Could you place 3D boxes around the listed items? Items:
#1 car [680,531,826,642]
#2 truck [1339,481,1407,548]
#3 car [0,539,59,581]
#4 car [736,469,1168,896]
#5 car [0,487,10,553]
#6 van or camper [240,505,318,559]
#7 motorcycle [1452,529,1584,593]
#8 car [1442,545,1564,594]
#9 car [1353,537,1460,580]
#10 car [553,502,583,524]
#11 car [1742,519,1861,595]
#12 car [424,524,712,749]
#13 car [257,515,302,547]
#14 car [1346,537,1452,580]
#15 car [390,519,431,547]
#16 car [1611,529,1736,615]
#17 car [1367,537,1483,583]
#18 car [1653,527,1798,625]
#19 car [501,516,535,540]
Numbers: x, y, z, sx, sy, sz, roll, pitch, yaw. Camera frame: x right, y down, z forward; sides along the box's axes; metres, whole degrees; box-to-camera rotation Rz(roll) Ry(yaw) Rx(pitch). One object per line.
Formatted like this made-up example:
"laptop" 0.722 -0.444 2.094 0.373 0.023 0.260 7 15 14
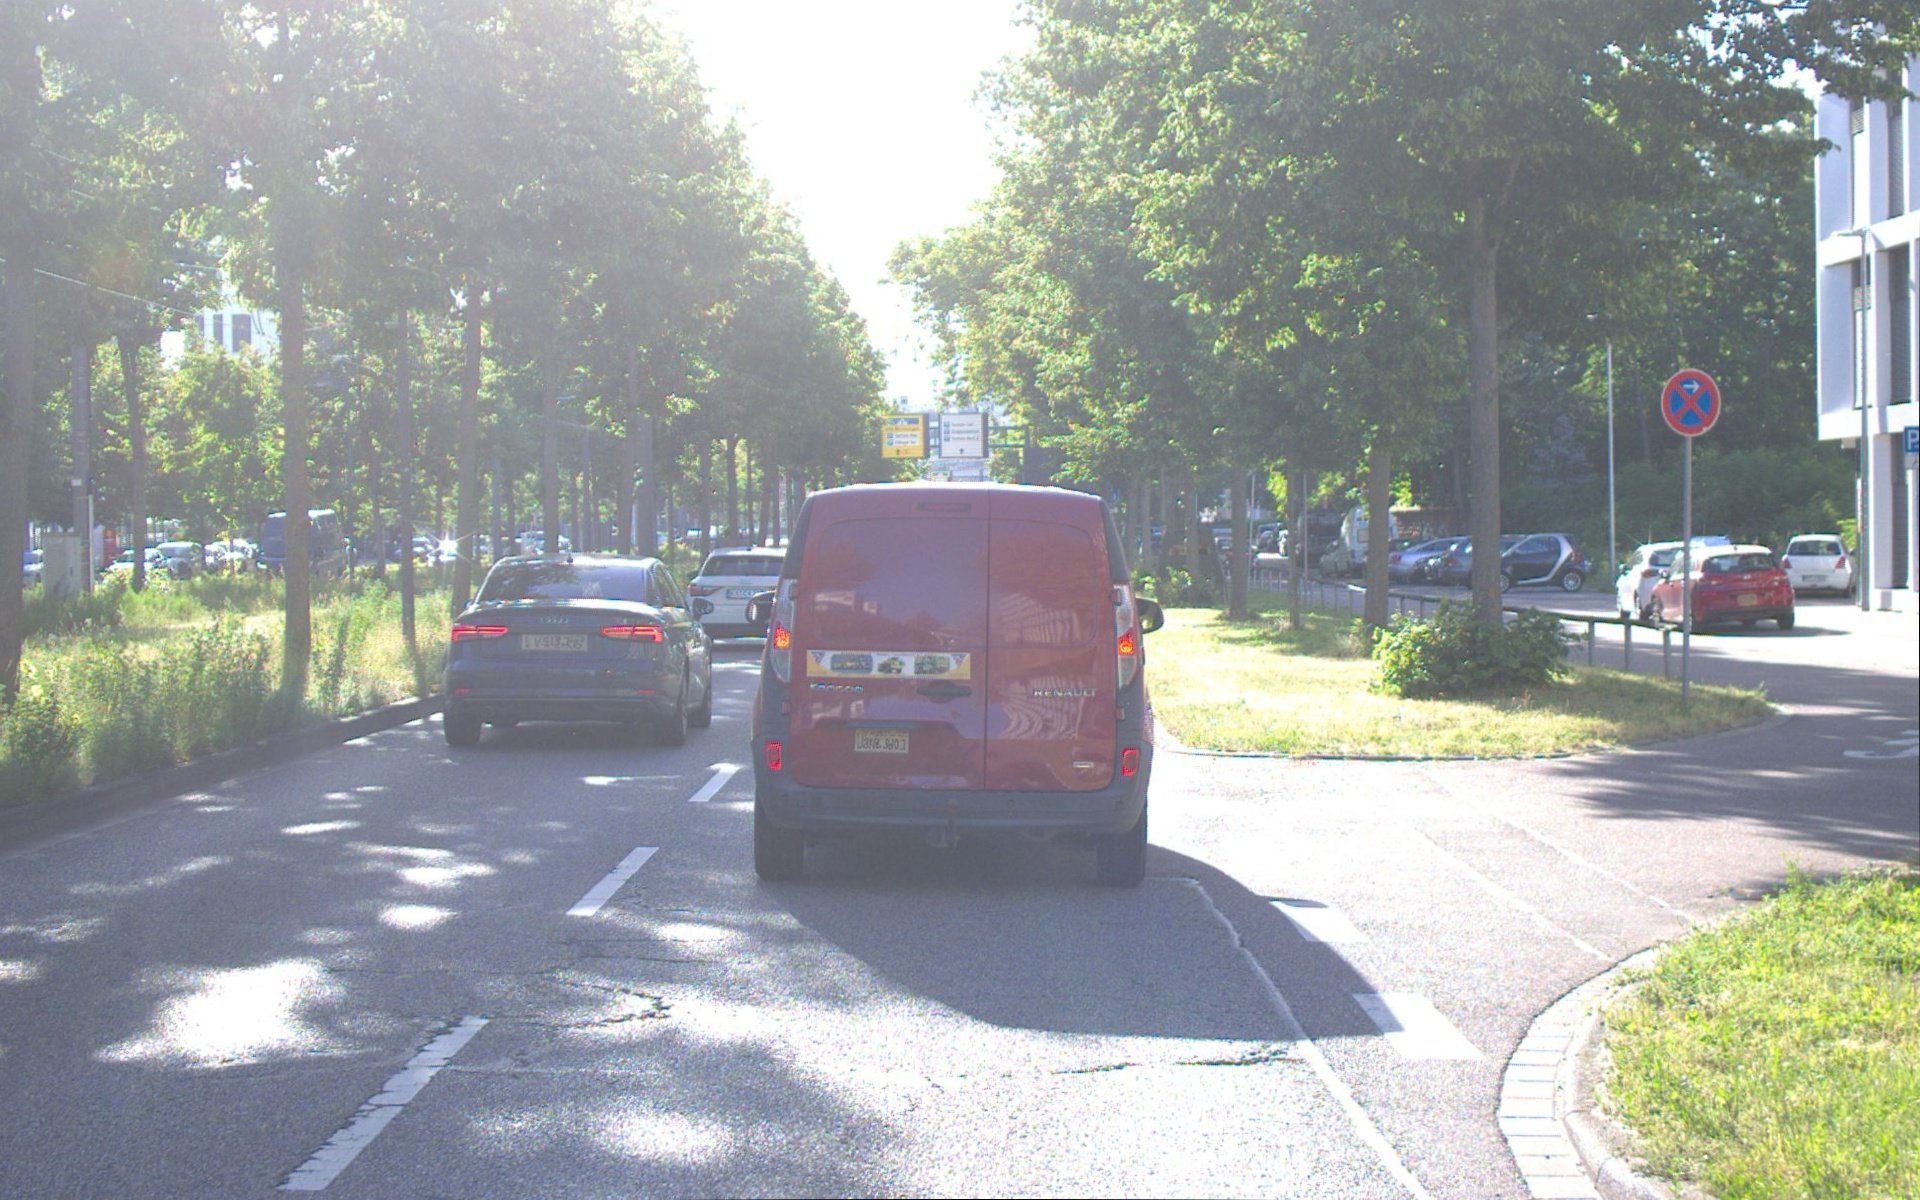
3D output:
"car" -2.865 -0.221 48.384 1.808 1.429 4.113 -1 2 0
"truck" 15.686 -3.237 130.706 1.831 2.492 5.933 0 1 0
"car" -31.461 -1.348 115.137 1.580 1.337 3.712 -1 1 0
"car" -0.100 0.312 16.604 1.808 1.788 4.113 1 1 -2
"car" -30.081 -2.396 103.426 1.993 2.006 4.001 0 2 -2
"van or camper" -22.431 -2.250 113.382 1.820 1.732 3.712 -1 1 0
"motorcycle" 14.815 -1.049 91.319 3.399 1.657 1.470 0 1 7
"car" 15.576 -0.881 98.690 3.399 1.354 1.470 0 1 7
"car" 14.332 -1.337 110.445 3.399 1.354 1.470 0 1 7
"car" -28.733 -6.382 251.981 1.755 1.568 4.000 0 1 0
"car" 20.463 -1.064 83.743 1.993 1.809 4.000 0 1 2
"car" -2.884 0.212 26.073 1.808 1.522 4.113 -1 2 -2
"car" -37.836 -3.838 191.165 1.732 1.766 4.000 -1 1 0
"car" 14.390 -1.356 112.773 3.399 1.354 1.470 0 1 7
"car" -31.656 -3.854 198.198 1.755 1.568 4.000 -1 1 0
"car" 13.392 -0.548 64.672 1.819 1.527 3.437 0 1 4
"car" 13.937 -1.207 103.151 3.399 1.354 1.470 0 1 7
"car" 13.268 -0.450 59.787 1.758 1.606 3.903 0 2 2
"car" -29.879 -4.861 232.445 1.755 1.568 4.000 0 1 0
